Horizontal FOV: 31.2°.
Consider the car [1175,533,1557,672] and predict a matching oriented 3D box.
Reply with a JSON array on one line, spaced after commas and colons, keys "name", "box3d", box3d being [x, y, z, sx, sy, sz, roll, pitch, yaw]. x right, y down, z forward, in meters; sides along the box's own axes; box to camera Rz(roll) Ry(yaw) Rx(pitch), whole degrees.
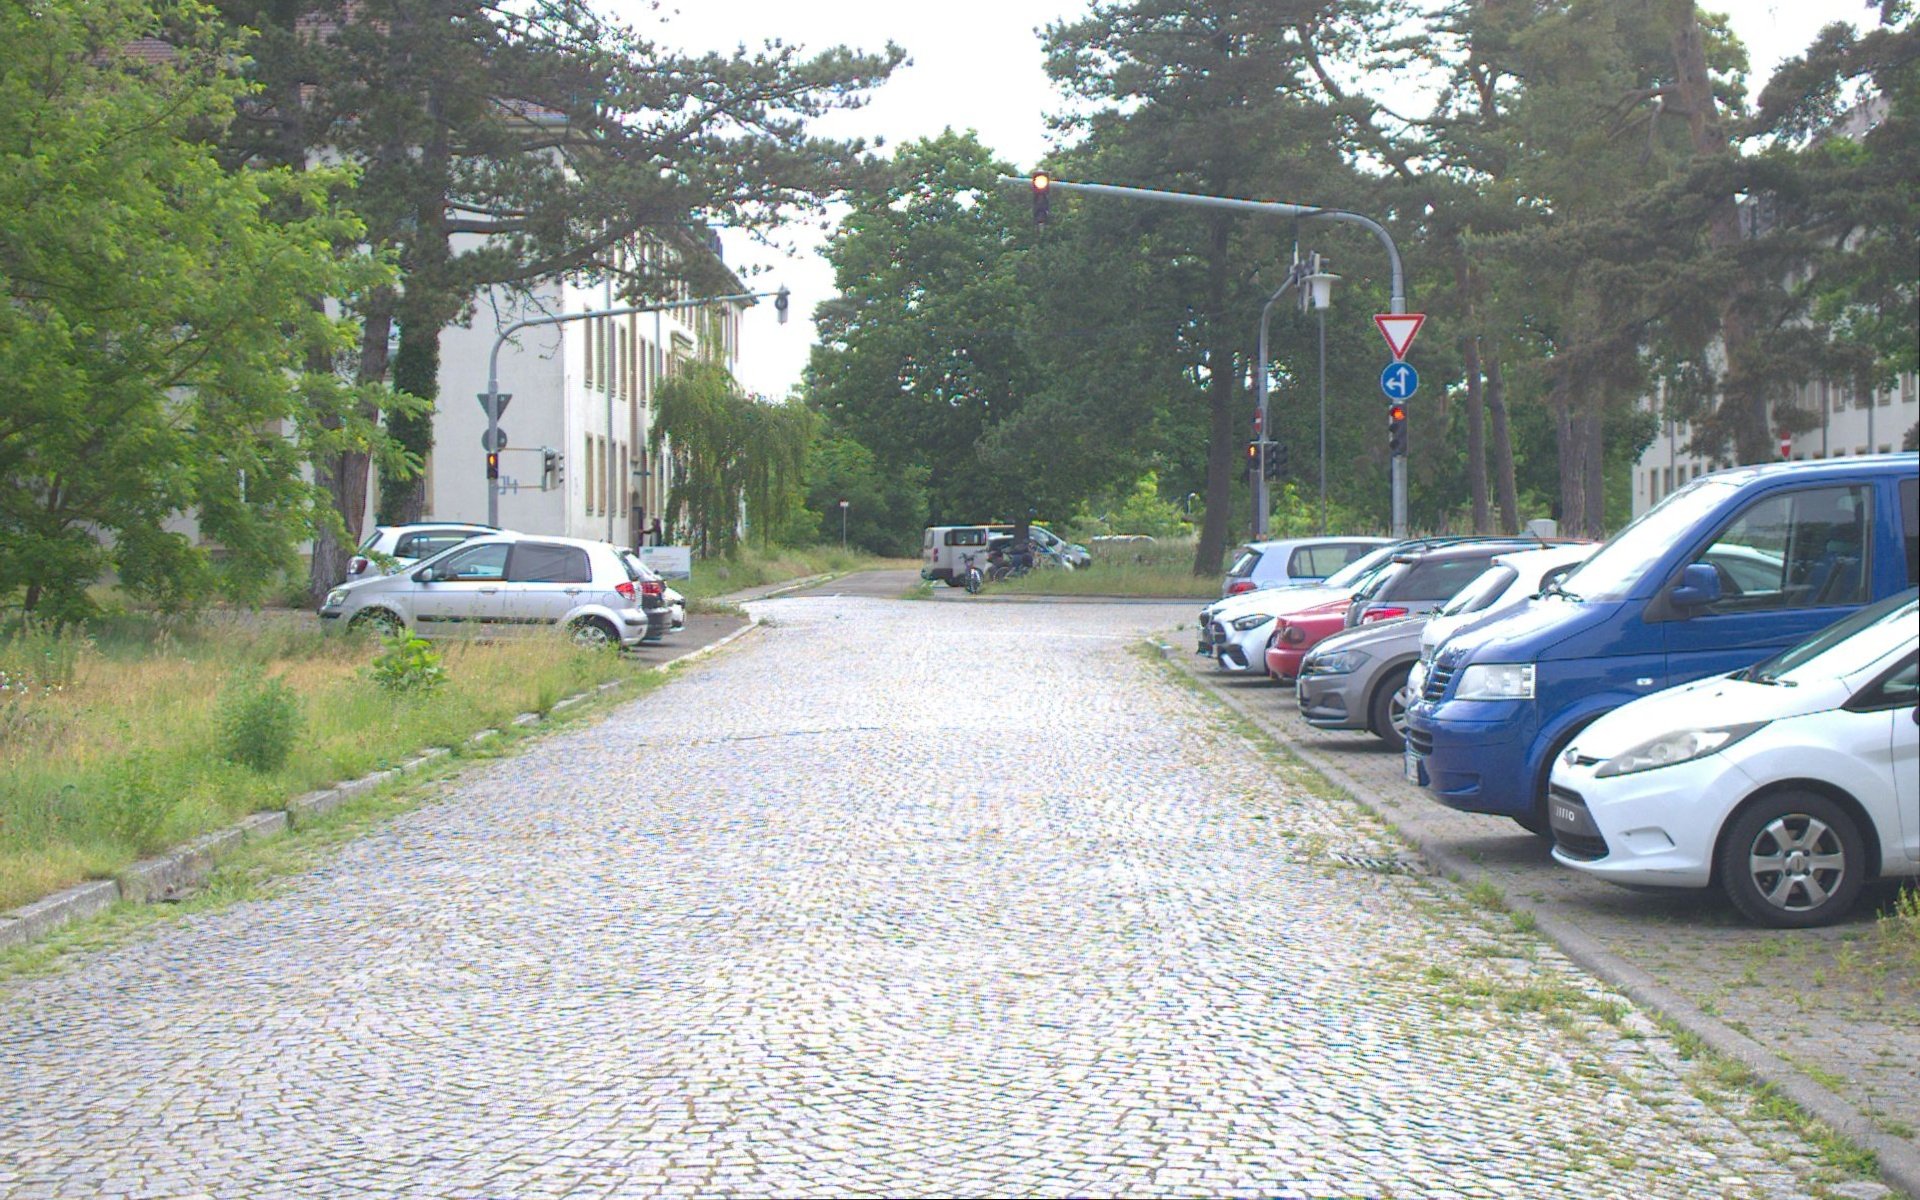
[{"name": "car", "box3d": [4.490, 0.010, 38.310, 3.967, 1.416, 1.620, -1, 1, -4]}]

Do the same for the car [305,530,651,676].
[{"name": "car", "box3d": [-5.569, 0.021, 40.020, 3.821, 1.567, 1.564, -1, 1, -3]}]

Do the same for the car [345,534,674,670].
[{"name": "car", "box3d": [-5.518, 0.013, 42.436, 3.821, 1.567, 1.564, -1, 1, 0]}]

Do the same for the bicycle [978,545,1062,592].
[{"name": "bicycle", "box3d": [1.563, -0.827, 89.927, 2.136, 1.210, 0.622, 1, 1, -4]}]

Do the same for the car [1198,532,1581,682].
[{"name": "car", "box3d": [4.394, 0.059, 35.456, 3.671, 1.416, 1.524, -1, 1, -4]}]

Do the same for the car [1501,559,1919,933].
[{"name": "car", "box3d": [4.288, 0.551, 14.578, 3.671, 1.444, 1.615, -1, 1, -2]}]

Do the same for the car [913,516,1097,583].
[{"name": "car", "box3d": [1.401, -1.581, 107.831, 5.444, 2.007, 2.269, 0, 1, -8]}]

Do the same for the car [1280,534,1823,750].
[{"name": "car", "box3d": [4.287, 0.288, 25.227, 3.671, 1.444, 1.524, -1, 1, -1]}]

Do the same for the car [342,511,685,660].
[{"name": "car", "box3d": [-5.857, -0.204, 45.425, 4.262, 1.834, 1.744, -1, 1, 0]}]

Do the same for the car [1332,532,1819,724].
[{"name": "car", "box3d": [4.999, 0.214, 28.206, 3.671, 1.444, 1.524, -1, 1, -1]}]

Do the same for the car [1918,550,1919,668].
[{"name": "car", "box3d": [4.567, 0.606, 8.197, 4.028, 1.547, 1.751, -1, 1, -2]}]

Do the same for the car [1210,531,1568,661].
[{"name": "car", "box3d": [5.071, -0.060, 40.953, 3.967, 1.416, 1.620, -1, 1, -4]}]

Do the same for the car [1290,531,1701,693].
[{"name": "car", "box3d": [5.128, 0.102, 33.194, 3.671, 1.444, 1.524, -1, 1, -1]}]

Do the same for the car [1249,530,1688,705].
[{"name": "car", "box3d": [4.530, 0.142, 30.917, 3.671, 1.444, 1.524, -1, 1, -1]}]

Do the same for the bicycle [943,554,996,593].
[{"name": "bicycle", "box3d": [0.241, -0.668, 85.876, 0.620, 0.941, 1.663, 0, 1, -27]}]

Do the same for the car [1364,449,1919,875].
[{"name": "car", "box3d": [4.542, 0.249, 17.163, 4.754, 1.948, 1.931, -1, 1, -1]}]

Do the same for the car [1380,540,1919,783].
[{"name": "car", "box3d": [4.700, 0.373, 22.443, 3.671, 1.444, 1.524, -1, 1, -1]}]
